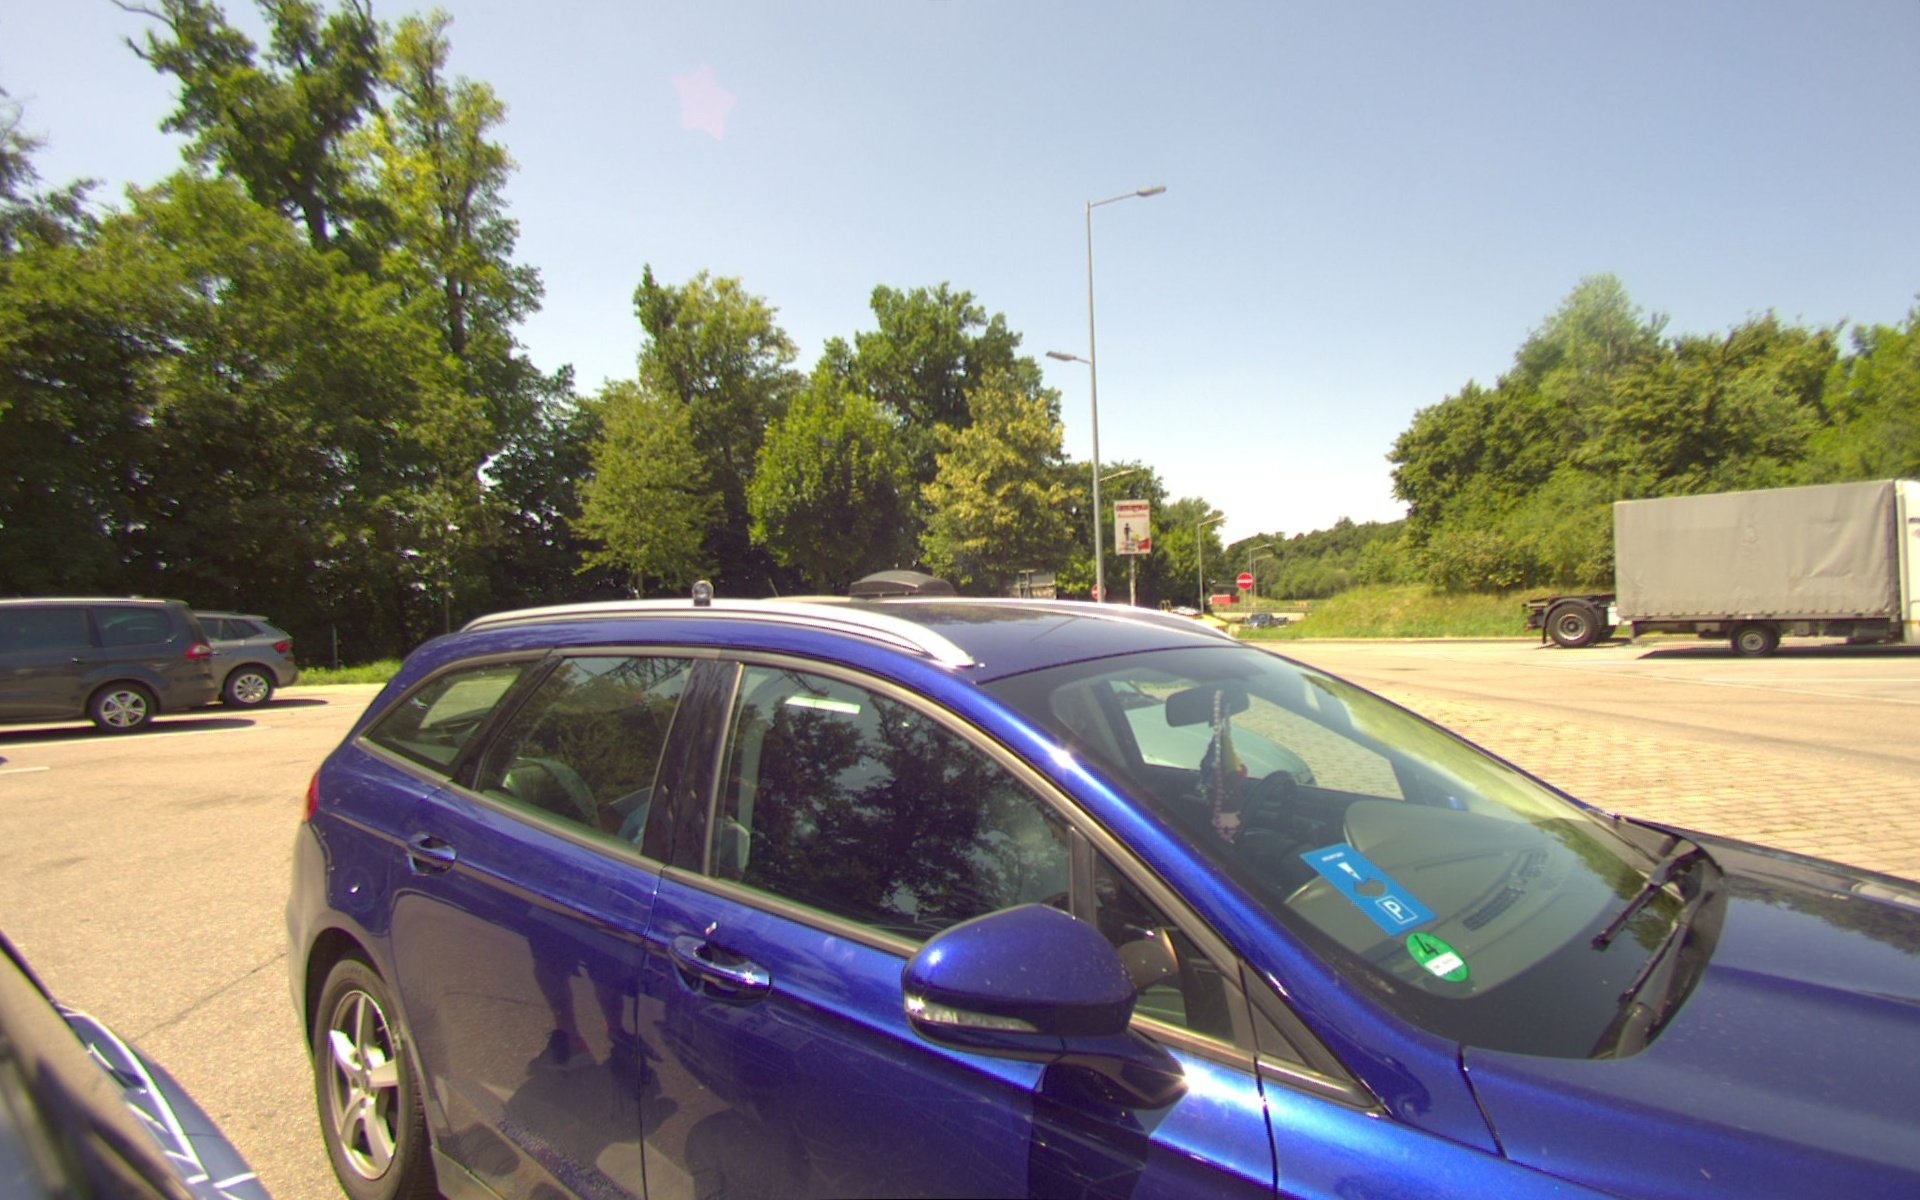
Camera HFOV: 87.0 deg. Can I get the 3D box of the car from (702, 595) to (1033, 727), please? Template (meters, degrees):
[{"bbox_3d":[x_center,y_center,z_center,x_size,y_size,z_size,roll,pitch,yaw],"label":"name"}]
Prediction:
[{"bbox_3d":[-1.363,0.758,13.535,4.466,1.476,1.756,-3,-1,40],"label":"car"}]

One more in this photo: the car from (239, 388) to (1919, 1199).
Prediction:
[{"bbox_3d":[0.240,0.632,2.104,4.466,1.476,1.756,-3,-1,40],"label":"car"}]

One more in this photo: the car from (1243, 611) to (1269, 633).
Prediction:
[{"bbox_3d":[22.004,1.640,75.248,1.700,1.547,3.830,-2,-1,18],"label":"car"}]

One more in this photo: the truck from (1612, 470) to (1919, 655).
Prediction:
[{"bbox_3d":[16.716,-0.639,18.821,7.349,3.152,2.338,-3,-2,42],"label":"truck"}]

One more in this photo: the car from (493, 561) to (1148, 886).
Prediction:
[{"bbox_3d":[-1.179,0.631,6.723,4.466,1.476,1.756,-3,-1,40],"label":"car"}]

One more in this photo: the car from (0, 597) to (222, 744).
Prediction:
[{"bbox_3d":[-11.685,0.848,12.557,3.910,1.701,1.782,-1,-1,-43],"label":"car"}]

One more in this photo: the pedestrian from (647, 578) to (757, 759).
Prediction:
[{"bbox_3d":[-2.430,0.620,9.517,0.759,1.614,0.663,-3,-1,41],"label":"pedestrian"}]

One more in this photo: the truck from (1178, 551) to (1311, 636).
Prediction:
[{"bbox_3d":[13.323,-0.244,47.425,5.782,3.720,1.987,-2,-1,20],"label":"truck"}]

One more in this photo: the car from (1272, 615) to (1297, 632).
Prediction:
[{"bbox_3d":[30.869,2.195,96.213,1.986,1.530,3.971,-2,-1,21],"label":"car"}]

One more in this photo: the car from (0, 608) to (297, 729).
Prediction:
[{"bbox_3d":[-12.681,0.972,15.571,3.910,1.598,1.782,-1,-1,-43],"label":"car"}]

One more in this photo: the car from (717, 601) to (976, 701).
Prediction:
[{"bbox_3d":[-2.016,0.830,17.088,4.466,1.476,1.756,-3,-1,40],"label":"car"}]

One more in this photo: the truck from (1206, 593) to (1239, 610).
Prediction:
[{"bbox_3d":[66.315,0.465,256.011,3.219,3.859,15.618,-2,-1,-4],"label":"truck"}]

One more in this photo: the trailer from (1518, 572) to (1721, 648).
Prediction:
[{"bbox_3d":[15.774,0.276,24.327,3.900,1.674,1.456,-2,-1,41],"label":"trailer"}]
